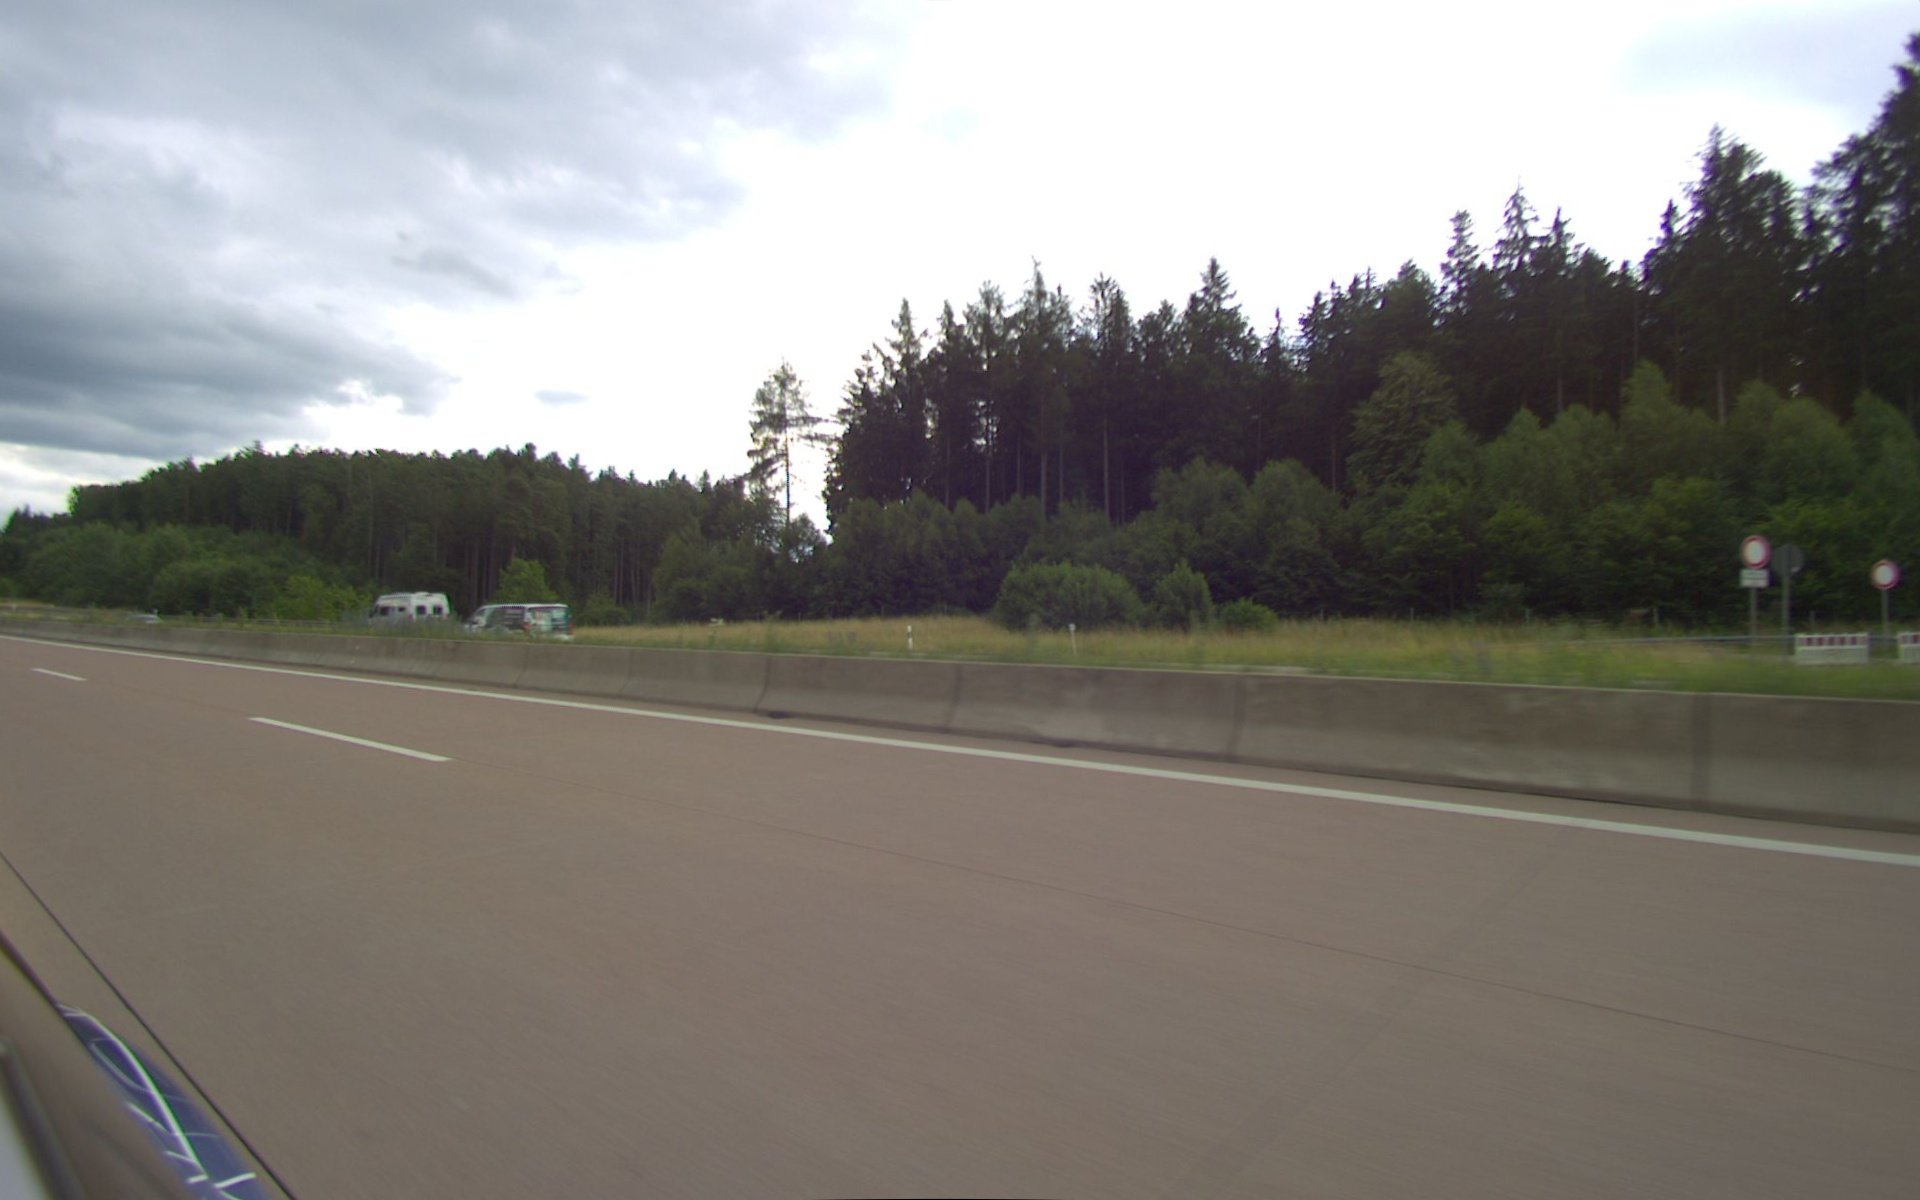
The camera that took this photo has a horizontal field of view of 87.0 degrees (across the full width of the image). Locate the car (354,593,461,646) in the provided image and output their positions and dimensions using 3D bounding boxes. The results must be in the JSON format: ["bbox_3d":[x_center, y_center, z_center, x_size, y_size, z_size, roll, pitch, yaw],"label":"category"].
[{"bbox_3d":[-29.253,0.981,53.437,7.323,2.629,2.435,0,0,40],"label":"car"}]

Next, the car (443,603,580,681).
[{"bbox_3d":[-16.572,1.423,37.209,6.349,2.629,2.013,0,0,40],"label":"car"}]
